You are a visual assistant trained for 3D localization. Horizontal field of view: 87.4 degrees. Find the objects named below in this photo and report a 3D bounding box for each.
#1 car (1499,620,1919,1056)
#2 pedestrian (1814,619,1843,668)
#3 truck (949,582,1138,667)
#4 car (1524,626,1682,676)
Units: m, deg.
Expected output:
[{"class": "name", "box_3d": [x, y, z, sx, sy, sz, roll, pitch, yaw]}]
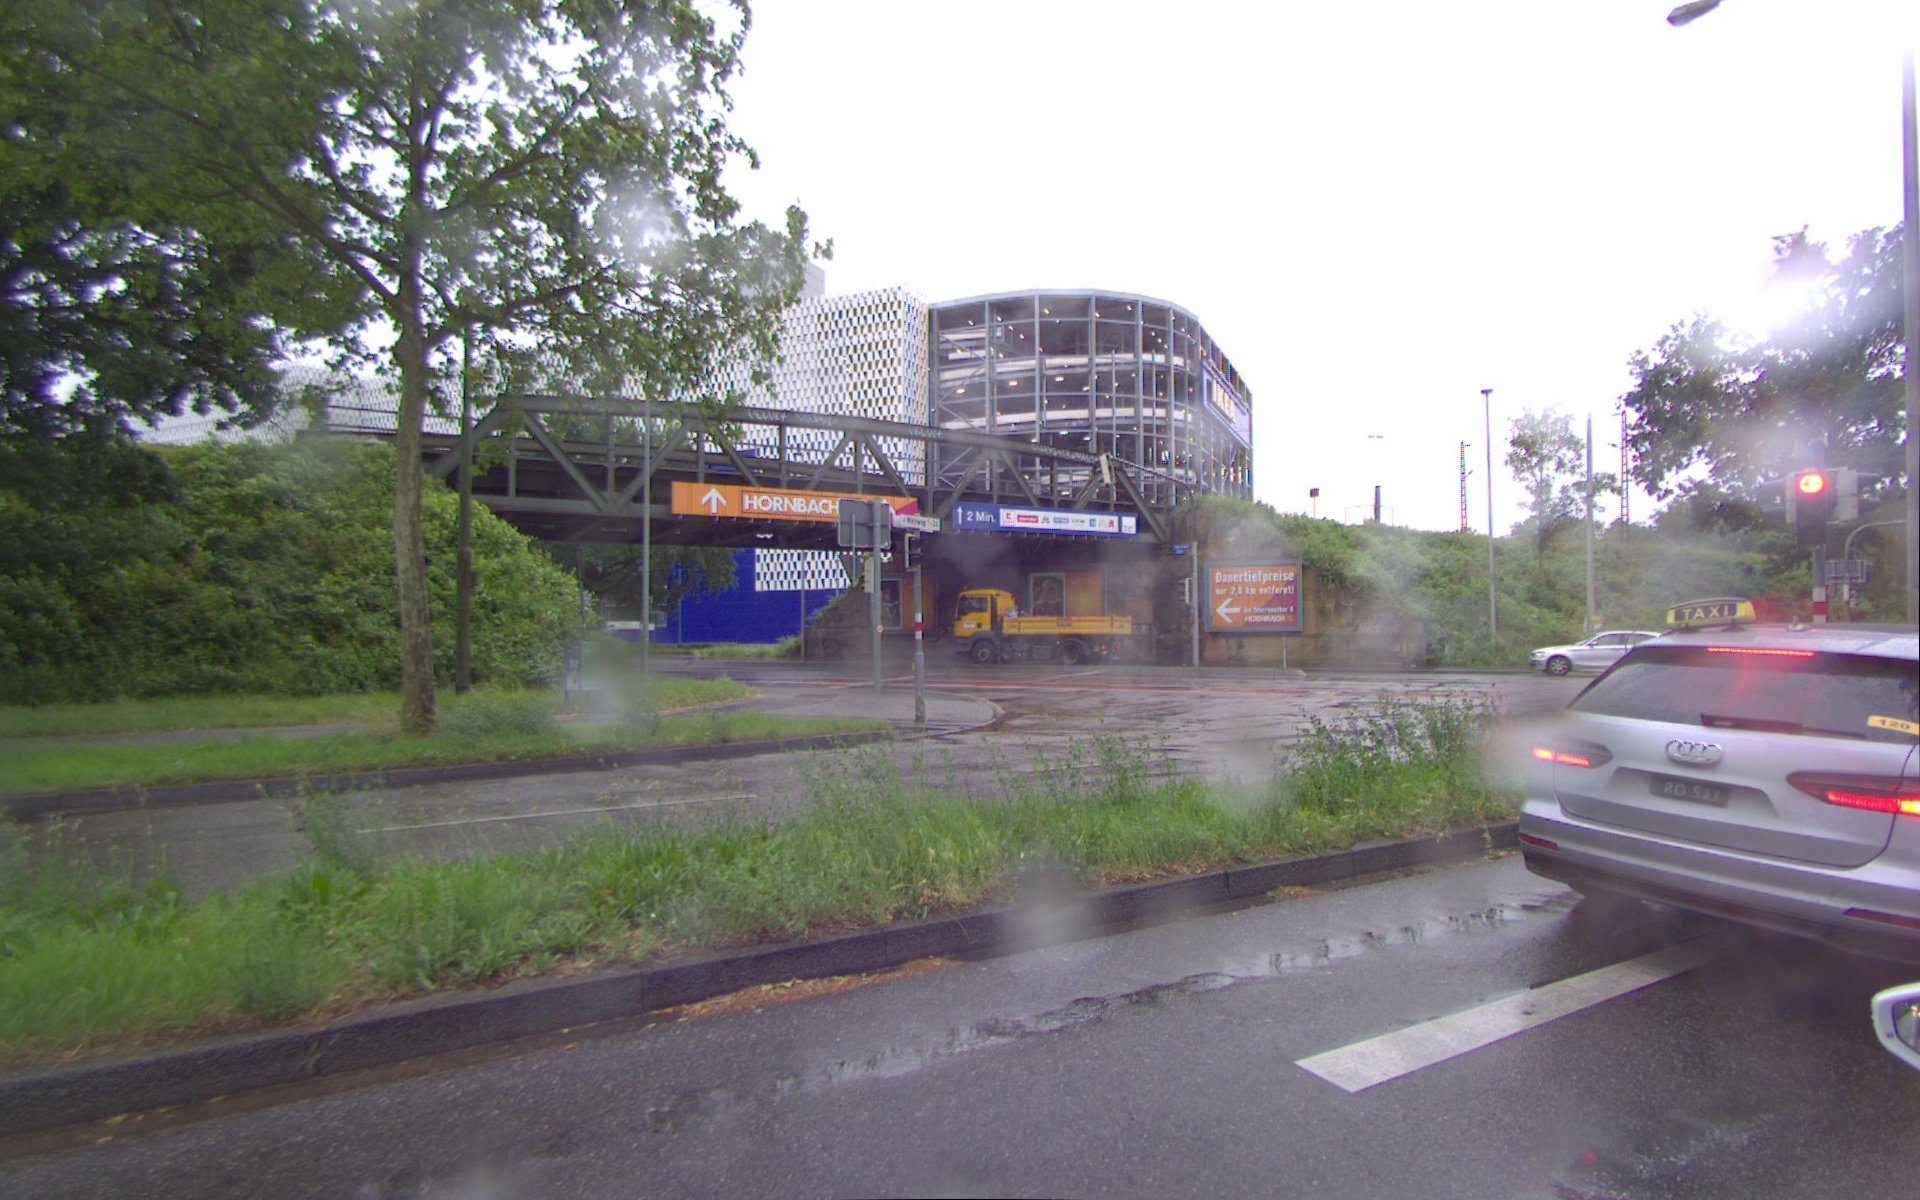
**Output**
[{"class": "car", "box_3d": [4.860, 0.854, 5.072, 4.520, 1.452, 1.682, 1, -1, -30]}, {"class": "pedestrian", "box_3d": [32.779, 1.647, 37.920, 0.661, 1.809, 0.533, 2, 0, -12]}, {"class": "truck", "box_3d": [3.246, 0.982, 39.365, 6.914, 3.094, 2.646, -1, -2, 23]}, {"class": "car", "box_3d": [20.326, 1.576, 31.947, 3.923, 1.505, 1.818, -1, -2, 22]}]
